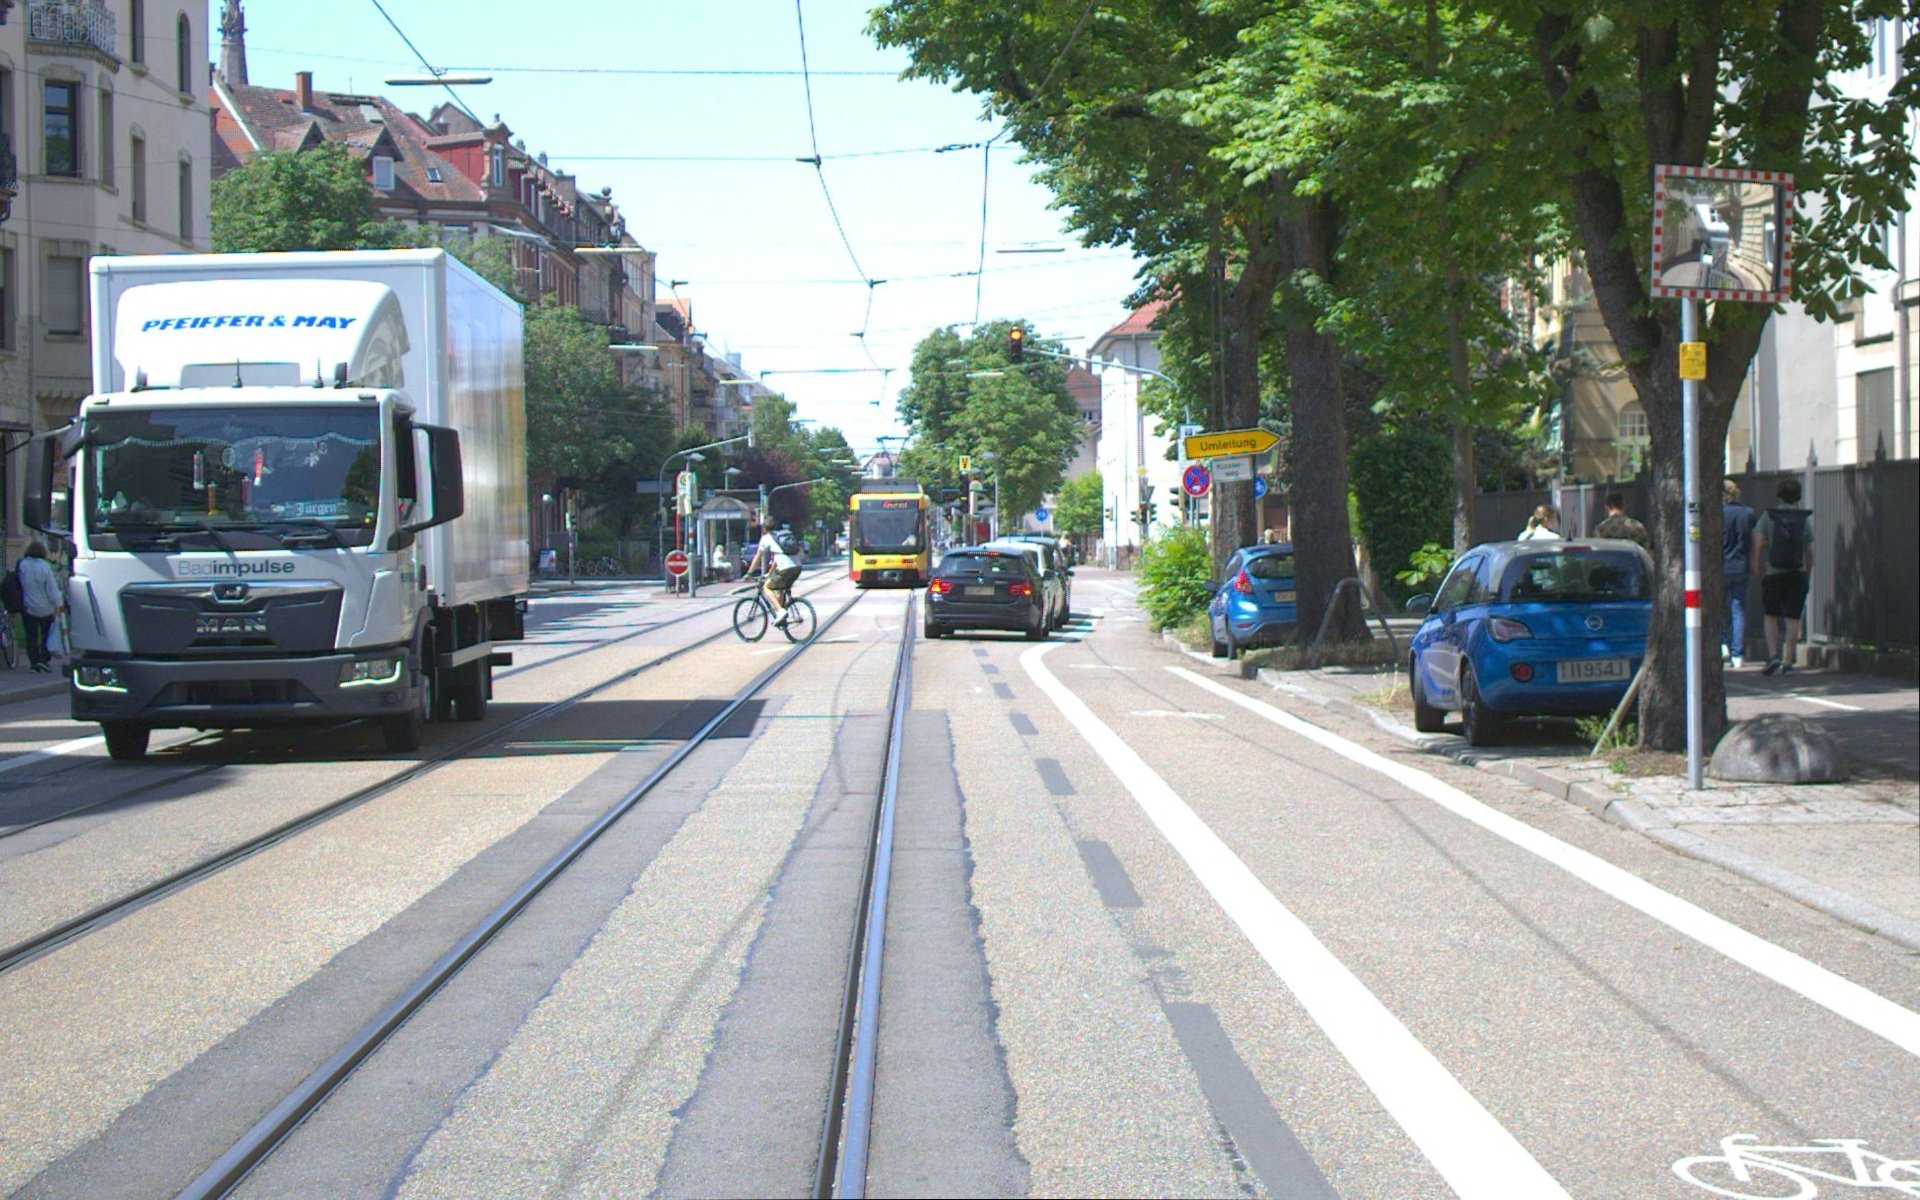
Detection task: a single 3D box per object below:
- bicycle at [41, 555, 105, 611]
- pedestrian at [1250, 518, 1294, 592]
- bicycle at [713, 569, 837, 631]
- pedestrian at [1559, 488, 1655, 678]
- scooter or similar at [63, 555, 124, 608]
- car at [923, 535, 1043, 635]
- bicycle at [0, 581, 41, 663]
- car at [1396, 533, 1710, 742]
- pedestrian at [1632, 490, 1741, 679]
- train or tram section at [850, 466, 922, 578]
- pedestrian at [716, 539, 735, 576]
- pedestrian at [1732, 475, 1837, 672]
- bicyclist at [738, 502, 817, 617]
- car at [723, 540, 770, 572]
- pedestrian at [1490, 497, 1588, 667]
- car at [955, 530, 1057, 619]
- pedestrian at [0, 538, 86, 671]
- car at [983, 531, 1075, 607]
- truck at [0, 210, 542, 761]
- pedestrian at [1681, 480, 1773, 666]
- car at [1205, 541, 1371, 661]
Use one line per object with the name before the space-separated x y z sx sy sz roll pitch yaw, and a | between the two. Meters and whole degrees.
bicycle | -17.190 -0.331 66.627 0.370 1.062 1.463 1 0 23
pedestrian | 7.017 -1.004 77.285 0.857 1.640 0.836 -1 1 -2
bicycle | -2.710 -0.002 50.282 1.819 0.815 0.753 3 3 43
pedestrian | 6.123 -0.167 32.567 0.704 1.770 0.947 -1 1 -1
scooter or similar | -17.335 -0.378 68.775 0.694 1.040 1.209 0 1 -41
car | 0.396 -0.263 52.806 1.722 1.404 4.565 2 1 1
bicycle | -11.508 0.256 41.304 0.410 0.957 1.841 3 0 -1
car | 4.416 0.232 26.038 1.691 1.448 3.474 -1 1 -1
pedestrian | 6.897 -0.157 32.670 0.787 1.755 1.052 -1 1 -1
train or tram section | -2.359 -2.519 111.738 2.190 3.470 8.846 -1 1 -1
pedestrian | -7.981 -1.449 116.945 0.613 1.238 0.628 -1 1 -6
pedestrian | 7.637 -0.251 31.873 0.684 1.791 1.084 -1 1 -1
bicyclist | -2.662 -0.591 50.129 0.830 1.657 0.756 1 1 42
car | -9.743 -2.016 157.176 1.823 1.408 4.429 0 1 0
pedestrian | 5.686 -0.185 33.792 0.766 1.645 0.974 -1 1 -1
car | 0.827 -0.464 59.631 1.685 1.479 3.684 -1 1 2
pedestrian | -10.915 0.040 40.631 0.900 1.537 0.984 -1 1 -1
car | 1.473 -0.666 71.717 1.691 1.508 3.821 1 1 4
truck | -5.069 -0.843 26.857 2.785 3.607 8.257 -1 1 -2
pedestrian | 7.574 -0.273 33.970 0.660 1.805 0.977 -1 1 -1
car | 4.183 -0.015 44.256 1.677 1.438 3.721 -1 1 -1
